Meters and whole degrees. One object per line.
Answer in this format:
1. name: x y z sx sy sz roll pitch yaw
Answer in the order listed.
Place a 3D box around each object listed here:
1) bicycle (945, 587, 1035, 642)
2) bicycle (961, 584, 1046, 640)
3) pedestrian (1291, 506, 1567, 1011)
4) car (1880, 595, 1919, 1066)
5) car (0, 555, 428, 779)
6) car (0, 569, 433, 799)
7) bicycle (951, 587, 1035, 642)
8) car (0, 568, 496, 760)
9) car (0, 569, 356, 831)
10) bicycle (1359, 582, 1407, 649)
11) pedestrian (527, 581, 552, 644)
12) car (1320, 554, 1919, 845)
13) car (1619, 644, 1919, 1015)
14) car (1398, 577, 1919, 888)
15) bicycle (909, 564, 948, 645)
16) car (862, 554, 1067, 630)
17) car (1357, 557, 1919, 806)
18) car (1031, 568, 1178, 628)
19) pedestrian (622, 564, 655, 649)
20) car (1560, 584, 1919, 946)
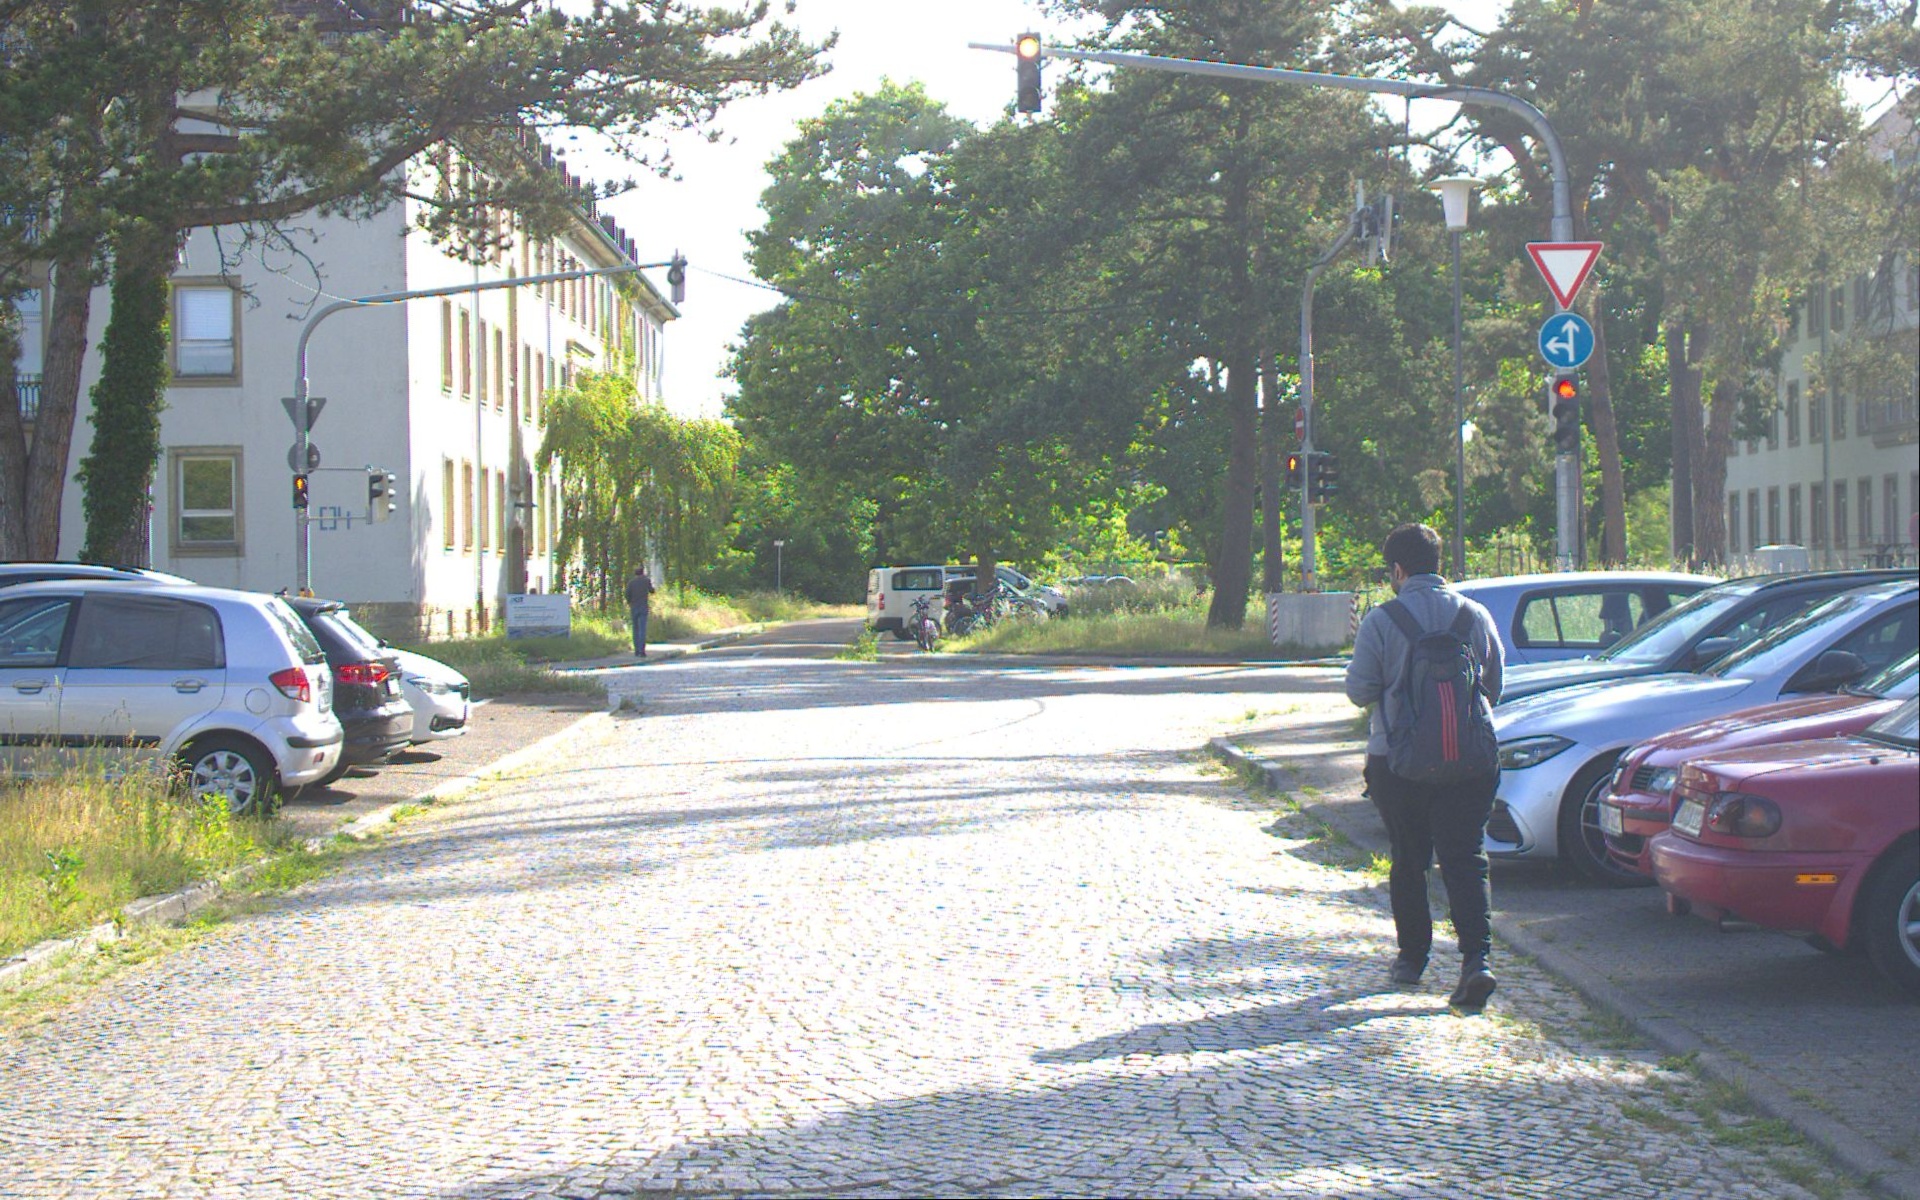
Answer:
1. bicycle: 0.625 0.305 71.538 1.834 1.108 0.495 -1 0 -4
2. bicycle: 0.918 0.258 72.764 1.727 1.160 0.561 -1 0 -4
3. pedestrian: 1.681 0.552 12.447 0.753 1.719 0.828 4 0 -1
4. car: 4.765 0.645 10.013 3.663 1.450 1.667 -2 0 0
5. car: -6.257 0.496 27.024 3.879 1.610 1.661 2 0 -1
6. car: -5.856 0.552 24.412 3.937 1.440 1.691 3 0 -1
7. bicycle: 0.688 0.301 72.083 1.727 1.108 0.484 -1 0 -4
8. car: -6.194 0.525 29.793 3.987 1.491 1.772 2 1 4
9. car: -5.810 0.581 21.748 3.685 1.522 1.699 2 0 -3
10. bicycle: 7.347 0.254 59.638 0.722 1.111 2.582 -1 0 9
11. pedestrian: -10.456 0.314 85.473 0.606 1.554 0.545 1 0 -7
12. car: 4.578 0.520 20.177 4.619 1.450 1.870 -3 1 -2
13. car: 4.296 0.794 12.604 3.460 1.238 1.536 0 0 0
14. car: 4.543 0.595 17.233 4.399 1.384 1.789 -2 0 -1
15. bicycle: -0.633 0.077 68.300 0.753 1.575 2.537 0 0 -1
16. car: 0.103 -0.216 89.421 5.065 1.911 2.001 -1 0 -9
17. car: 4.571 0.505 22.591 3.673 1.438 1.665 -2 0 0
18. car: 3.911 -0.061 93.325 3.743 1.574 1.742 0 0 -7
19. pedestrian: -6.580 0.128 70.404 0.607 1.746 0.630 0 0 -1
20. car: 4.775 0.646 14.993 3.979 1.443 1.655 -1 0 -1
